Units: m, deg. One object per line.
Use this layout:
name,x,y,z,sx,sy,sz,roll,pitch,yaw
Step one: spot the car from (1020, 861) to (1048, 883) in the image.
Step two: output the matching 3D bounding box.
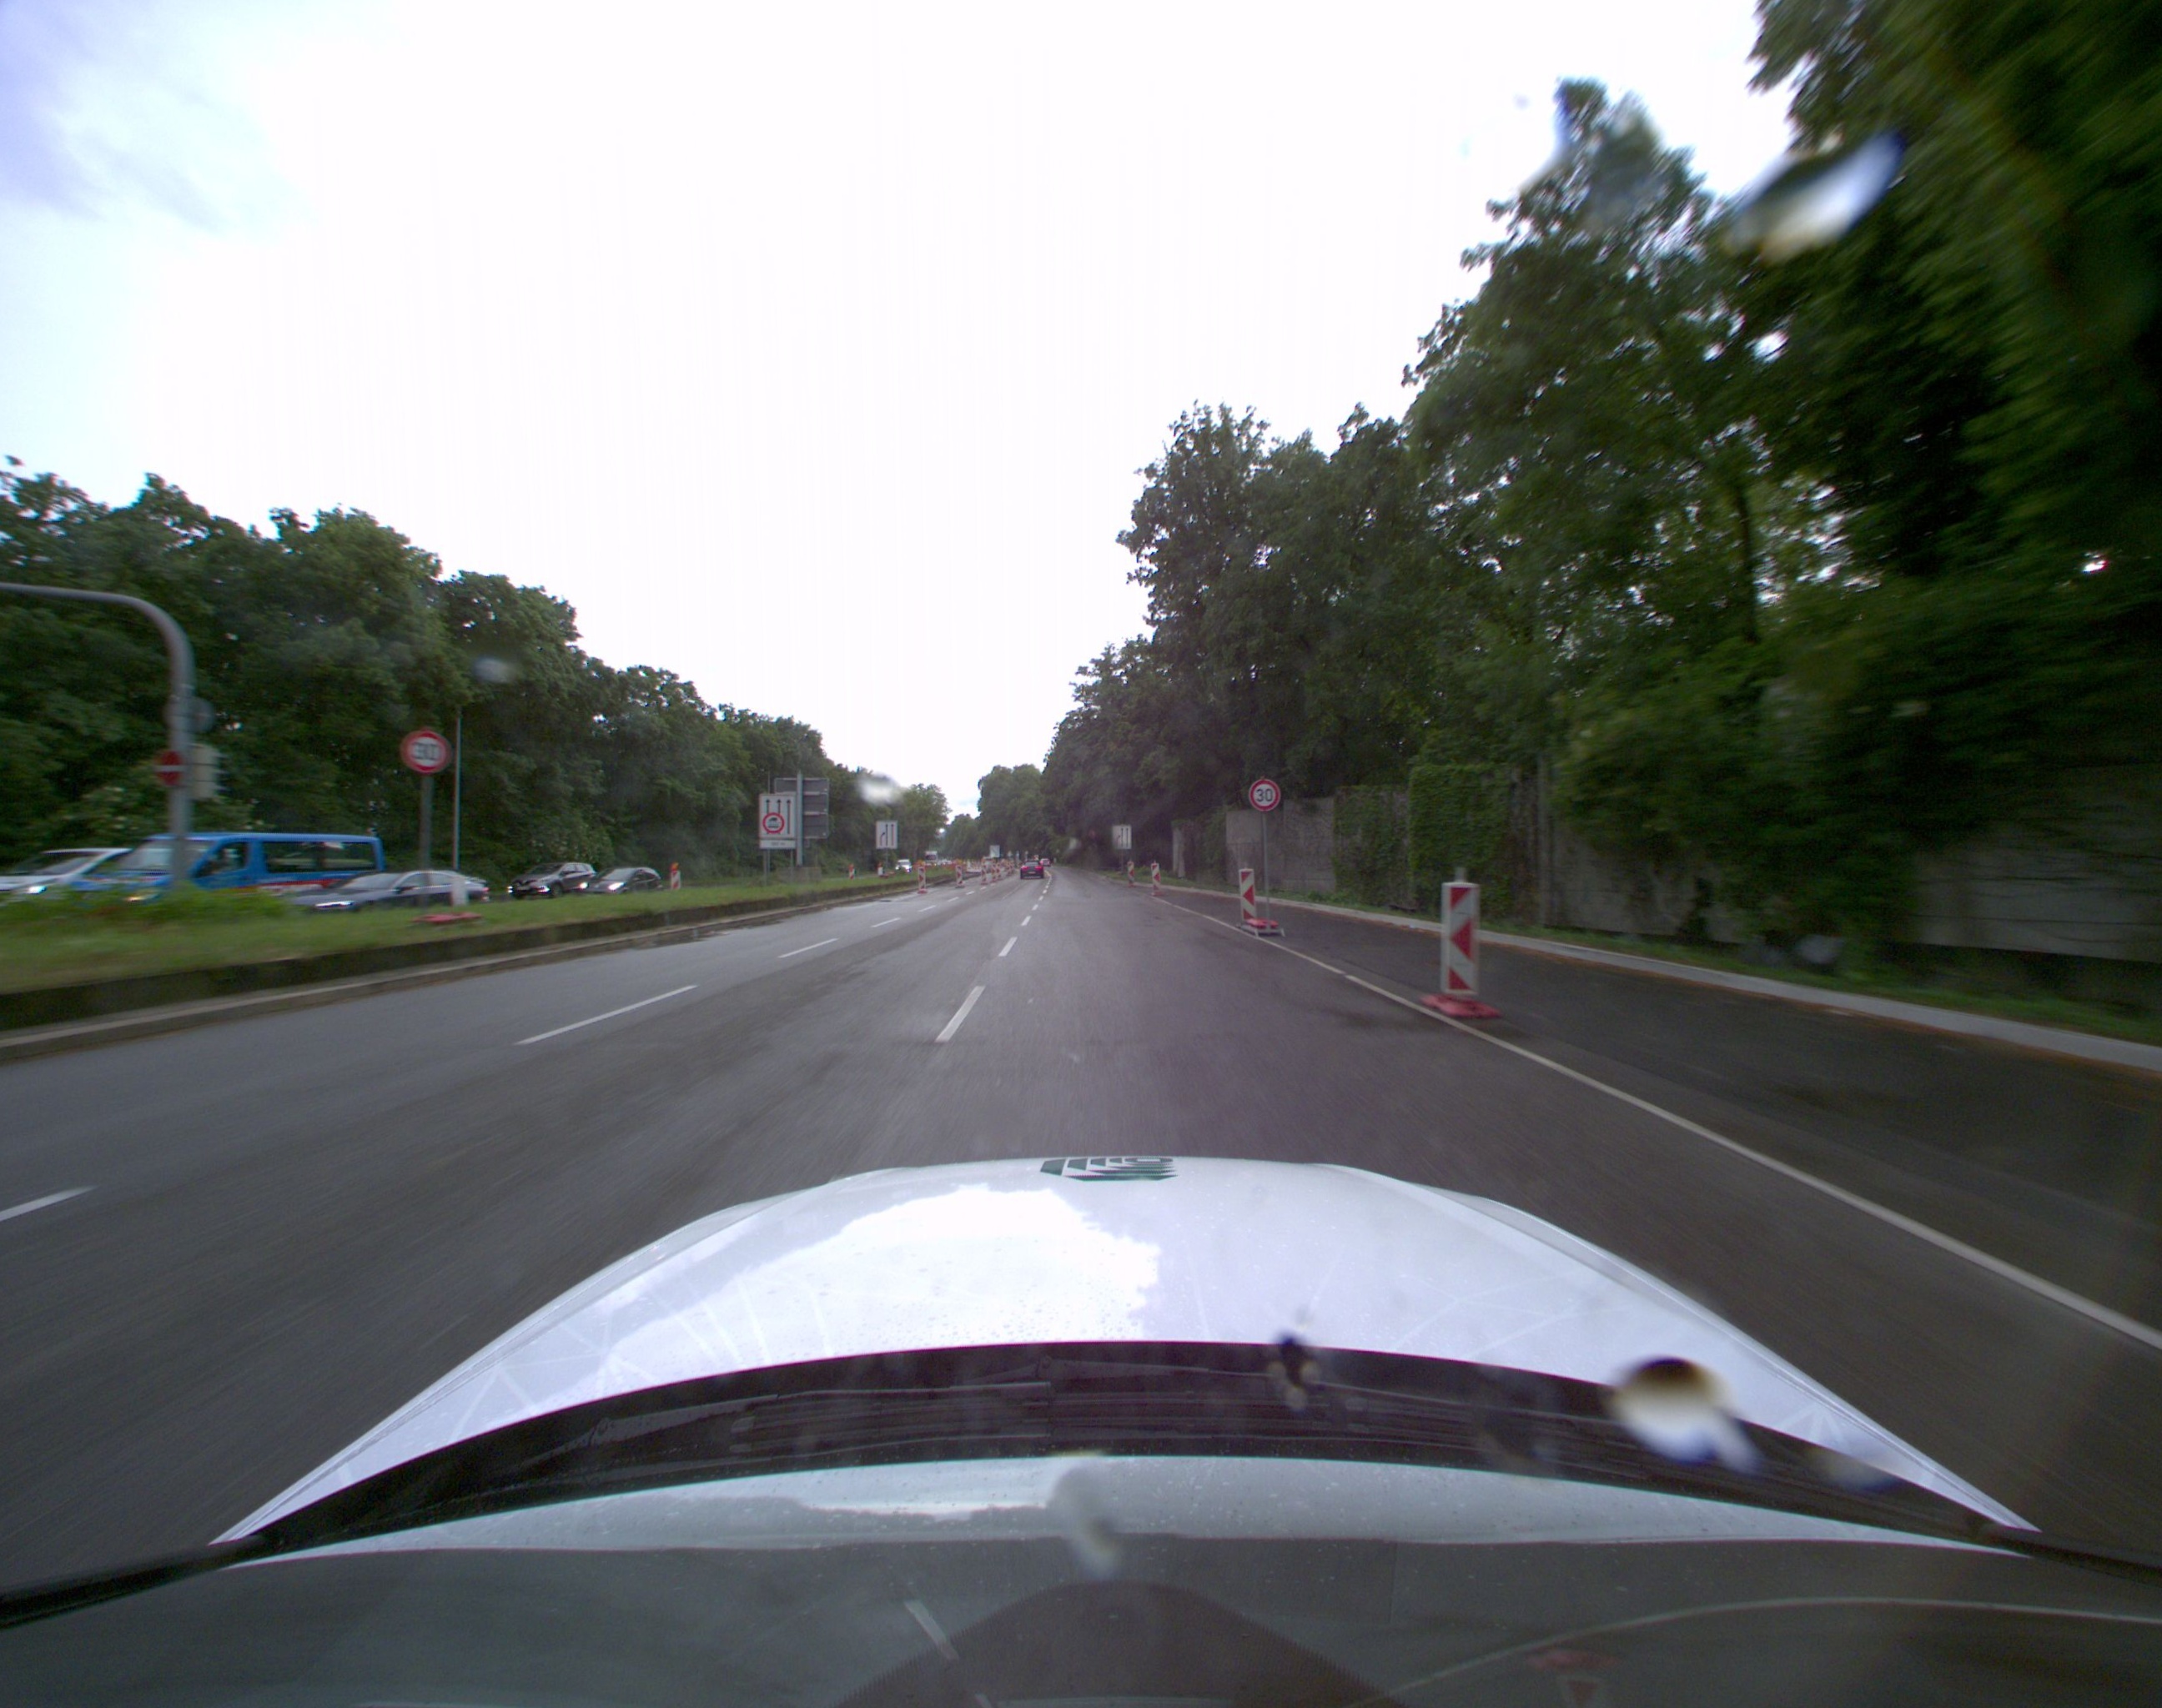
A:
car,-3.716,1.378,64.418,1.855,1.491,4.002,0,2,1

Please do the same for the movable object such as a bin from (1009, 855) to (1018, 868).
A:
movable object such as a bin,-15.705,1.751,190.117,1.746,2.867,3.524,-2,0,-9

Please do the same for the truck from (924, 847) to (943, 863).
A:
truck,-31.044,0.248,171.964,2.790,3.148,10.134,-1,0,-4

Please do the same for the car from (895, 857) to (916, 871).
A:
car,-23.573,1.315,109.479,1.910,1.781,4.828,-1,1,-3

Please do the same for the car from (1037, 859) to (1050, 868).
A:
car,-6.691,1.666,144.164,1.912,1.598,4.822,-1,1,-7

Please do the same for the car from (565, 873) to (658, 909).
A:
car,-17.273,1.331,30.121,1.424,1.200,3.301,0,0,1

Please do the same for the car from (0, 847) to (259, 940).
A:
car,-23.781,0.838,20.019,2.027,1.974,4.991,0,1,1

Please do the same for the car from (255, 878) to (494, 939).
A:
car,-17.005,1.258,19.976,1.541,1.200,4.652,0,0,5

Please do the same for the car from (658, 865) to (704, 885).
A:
car,-23.413,1.217,47.764,1.265,1.085,2.794,0,1,1

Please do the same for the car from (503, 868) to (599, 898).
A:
car,-22.956,1.234,35.456,1.543,1.200,3.931,0,0,1

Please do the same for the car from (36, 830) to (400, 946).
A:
car,-20.485,0.656,19.987,2.187,2.390,6.245,0,1,1
